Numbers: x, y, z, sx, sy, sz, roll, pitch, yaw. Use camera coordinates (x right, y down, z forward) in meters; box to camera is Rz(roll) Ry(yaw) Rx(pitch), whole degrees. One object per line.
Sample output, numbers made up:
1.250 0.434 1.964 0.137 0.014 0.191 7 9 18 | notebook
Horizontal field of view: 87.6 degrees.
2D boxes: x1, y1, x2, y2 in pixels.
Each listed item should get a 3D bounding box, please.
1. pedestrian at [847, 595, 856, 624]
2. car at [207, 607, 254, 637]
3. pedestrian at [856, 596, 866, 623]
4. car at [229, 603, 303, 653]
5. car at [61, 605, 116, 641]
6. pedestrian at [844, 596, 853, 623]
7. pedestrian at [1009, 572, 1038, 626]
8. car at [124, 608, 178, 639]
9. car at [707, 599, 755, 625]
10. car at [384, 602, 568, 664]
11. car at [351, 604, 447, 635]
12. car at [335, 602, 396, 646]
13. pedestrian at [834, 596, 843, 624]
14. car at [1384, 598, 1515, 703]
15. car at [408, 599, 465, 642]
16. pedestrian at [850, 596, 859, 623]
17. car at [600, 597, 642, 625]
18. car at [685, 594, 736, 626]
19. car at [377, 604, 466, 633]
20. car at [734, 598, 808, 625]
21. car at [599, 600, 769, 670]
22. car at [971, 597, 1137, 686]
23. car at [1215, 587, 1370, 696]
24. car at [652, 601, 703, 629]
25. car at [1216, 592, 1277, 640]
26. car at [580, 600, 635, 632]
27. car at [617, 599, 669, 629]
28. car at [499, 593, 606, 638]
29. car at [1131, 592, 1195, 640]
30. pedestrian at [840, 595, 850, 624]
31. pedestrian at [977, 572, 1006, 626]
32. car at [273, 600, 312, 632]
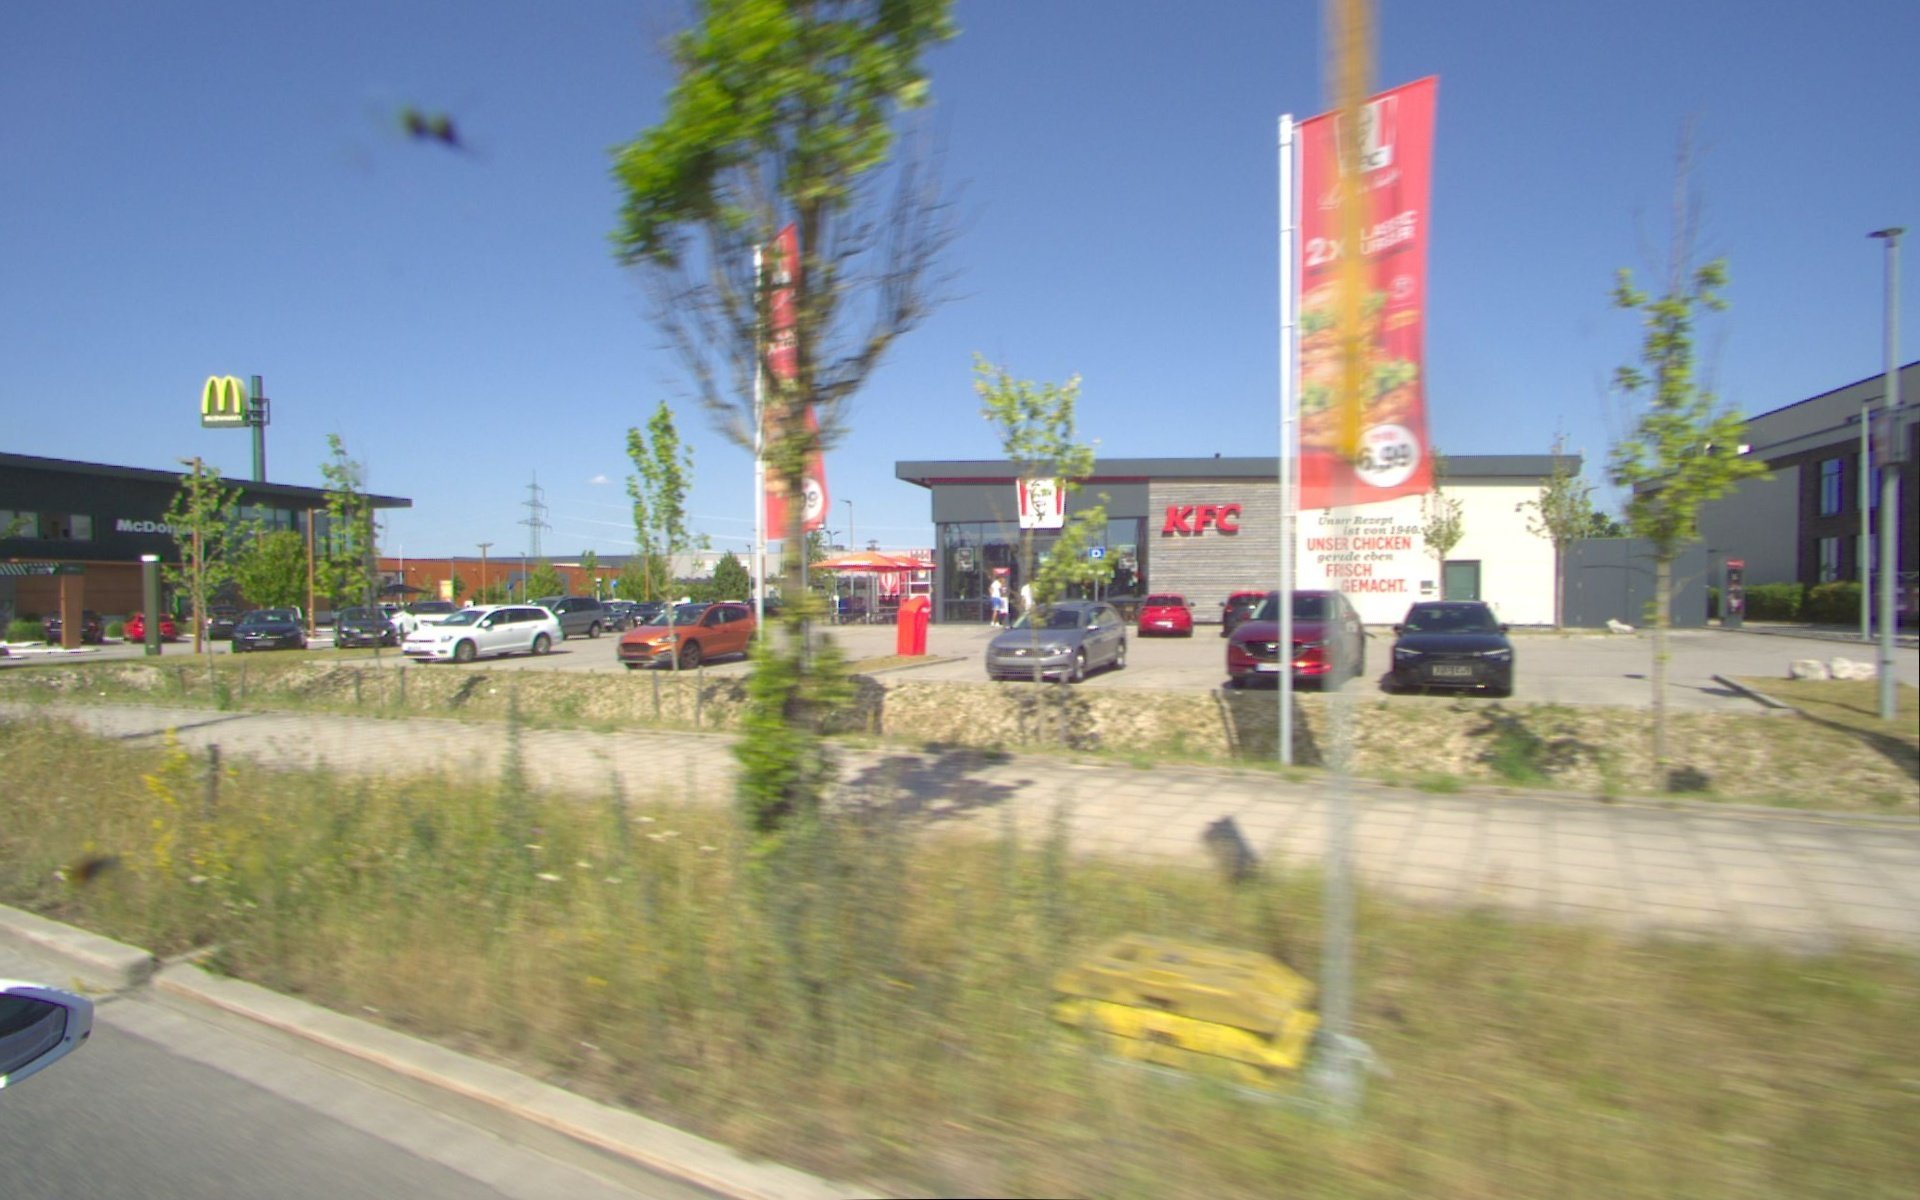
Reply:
-4.837 0.424 44.719 0.287 1.257 0.380 -1 1 14 | pedestrian
-38.945 1.143 53.522 1.774 1.533 3.974 -1 0 -34 | car
-4.498 0.429 45.444 0.287 1.257 0.380 -1 1 14 | pedestrian
-22.624 0.869 32.761 1.678 1.481 4.146 -1 0 -31 | car
-40.906 1.049 46.968 1.780 1.626 3.962 -1 1 -43 | car
-5.084 0.434 45.592 0.287 1.257 0.380 -1 1 14 | pedestrian
2.428 -0.038 38.283 0.875 2.040 0.914 0 1 19 | pedestrian
-40.340 1.160 49.919 1.780 1.453 3.962 -1 0 -43 | car
-14.508 0.745 63.339 1.766 1.543 4.146 -1 0 -31 | car
-13.345 0.841 27.915 1.837 1.510 4.527 0 1 23 | car
-27.055 0.912 48.454 3.940 1.391 1.790 -1 1 -28 | car
-21.567 0.840 36.363 1.766 1.481 4.146 -1 0 -31 | car
-5.436 0.429 44.858 0.287 1.257 0.380 -1 1 14 | pedestrian
8.161 0.735 16.919 1.761 1.469 4.153 0 1 24 | car
-20.794 0.784 39.716 1.766 1.600 4.146 -1 0 -31 | car
-4.802 0.432 45.517 0.287 1.257 0.380 -1 1 14 | pedestrian
-22.598 0.711 66.660 1.766 1.781 4.146 -1 0 -31 | car
-14.763 0.586 59.081 1.766 1.781 4.146 -1 0 -31 | car
-27.676 0.936 51.554 3.940 1.391 1.790 -1 1 -28 | car
-11.425 0.695 60.529 4.105 1.543 1.783 -1 0 -27 | car
-6.683 0.792 24.748 1.837 1.510 4.205 0 1 23 | car
2.041 0.735 20.248 1.839 1.510 4.552 0 1 26 | car
6.068 0.632 17.967 1.841 1.688 4.146 0 1 30 | car
-15.991 0.837 56.525 1.766 1.470 4.146 -1 0 -31 | car
9.459 0.480 33.194 1.834 1.451 4.563 0 1 15 | car
-17.516 0.780 49.646 1.766 1.470 4.146 -1 0 -31 | car
-16.917 0.728 53.323 1.766 1.470 4.146 -1 0 -31 | car
-15.963 0.586 39.466 1.758 1.657 4.164 -1 0 15 | car
6.943 0.498 33.920 1.834 1.451 4.563 0 1 15 | car
-5.141 0.427 44.795 0.287 1.257 0.380 -1 1 14 | pedestrian
1.219 -0.027 38.571 0.875 2.040 0.914 0 1 19 | pedestrian
-38.304 0.895 57.531 1.774 1.724 3.976 -1 0 -33 | car
